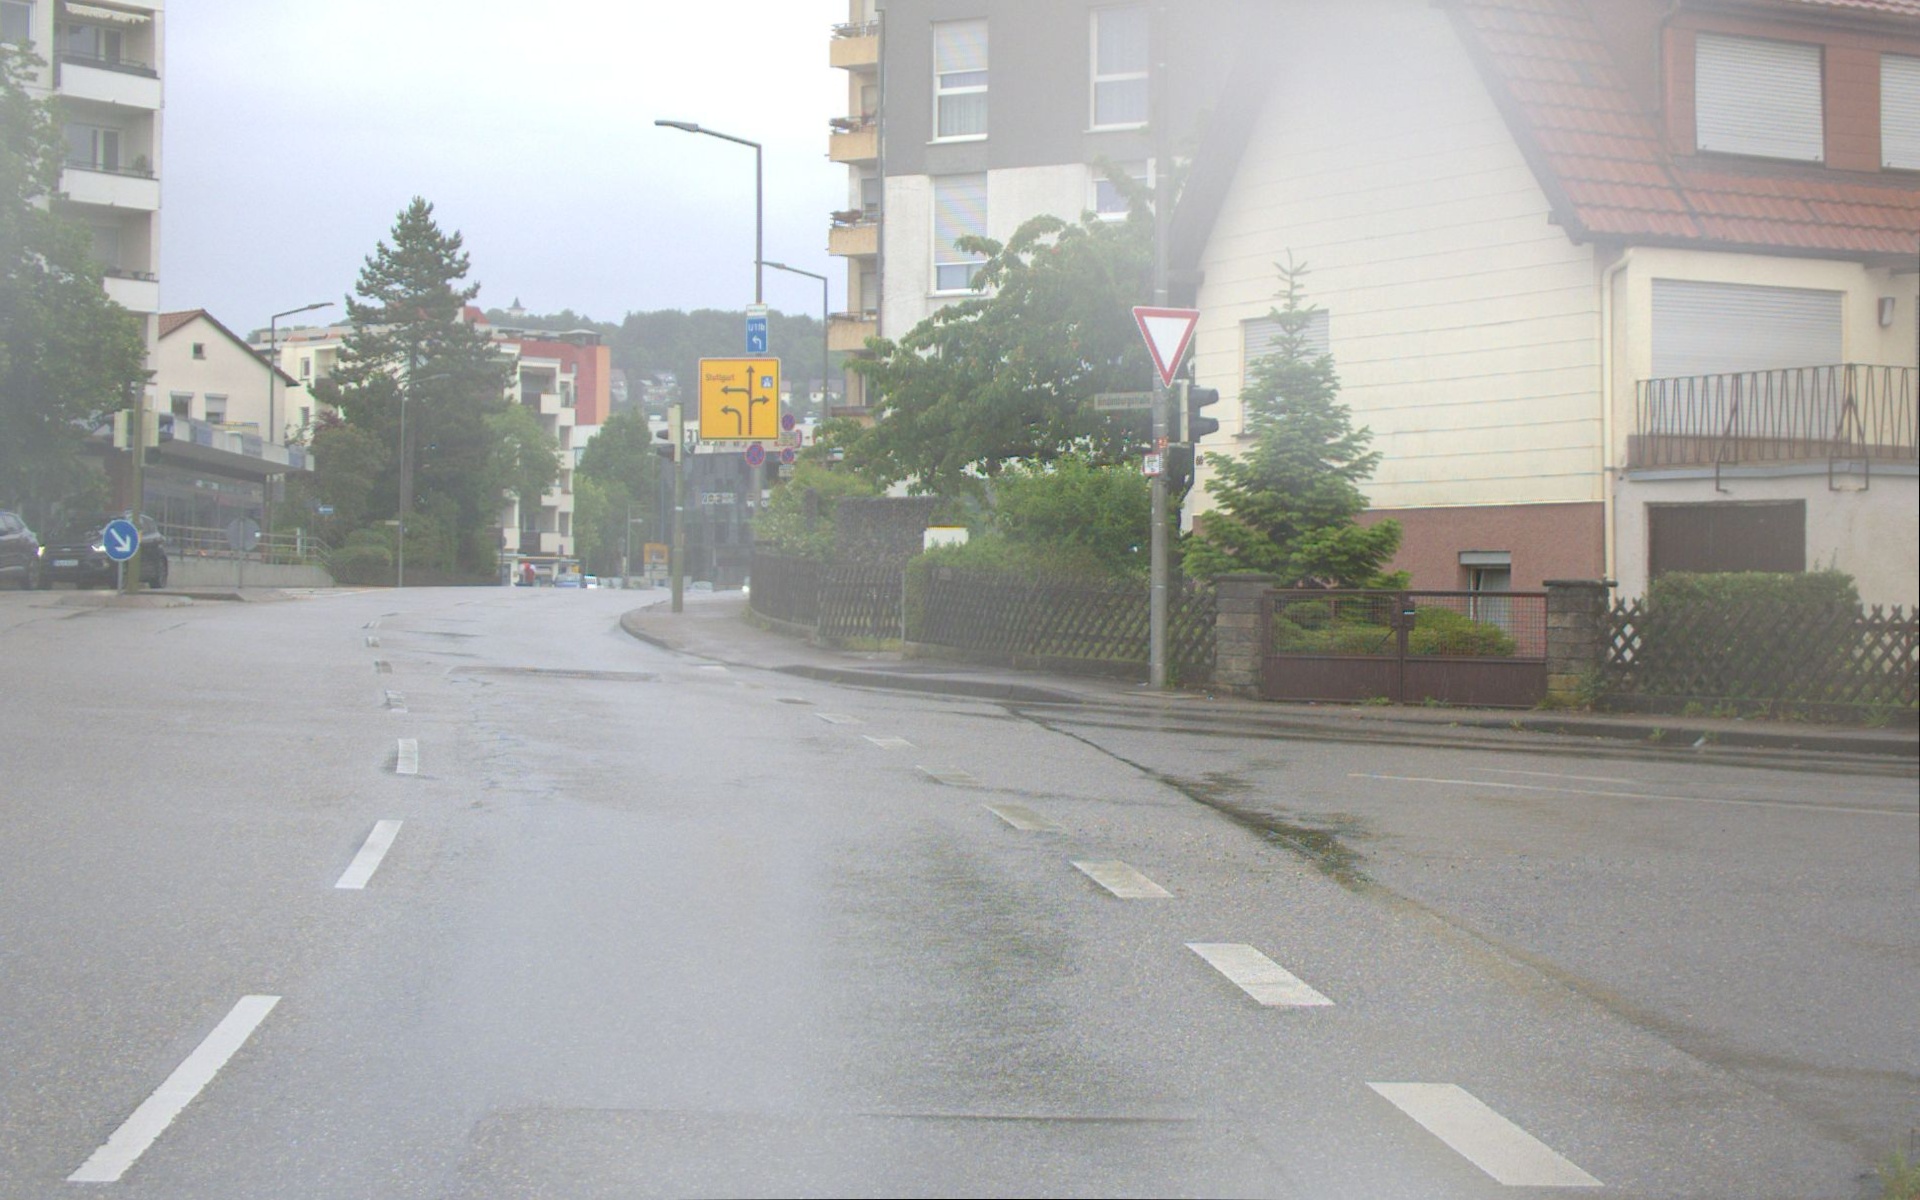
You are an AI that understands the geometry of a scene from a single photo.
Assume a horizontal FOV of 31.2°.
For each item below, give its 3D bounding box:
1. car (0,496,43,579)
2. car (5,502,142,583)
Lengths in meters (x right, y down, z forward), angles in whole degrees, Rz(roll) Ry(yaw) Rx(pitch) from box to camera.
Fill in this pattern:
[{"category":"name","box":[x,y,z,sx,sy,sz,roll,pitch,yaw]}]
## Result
[{"category":"car","box":[-18.301,-1.152,63.162,1.967,1.507,4.000,1,1,-2]},{"category":"car","box":[-18.323,-1.178,71.224,1.879,1.592,4.185,1,1,-2]}]
